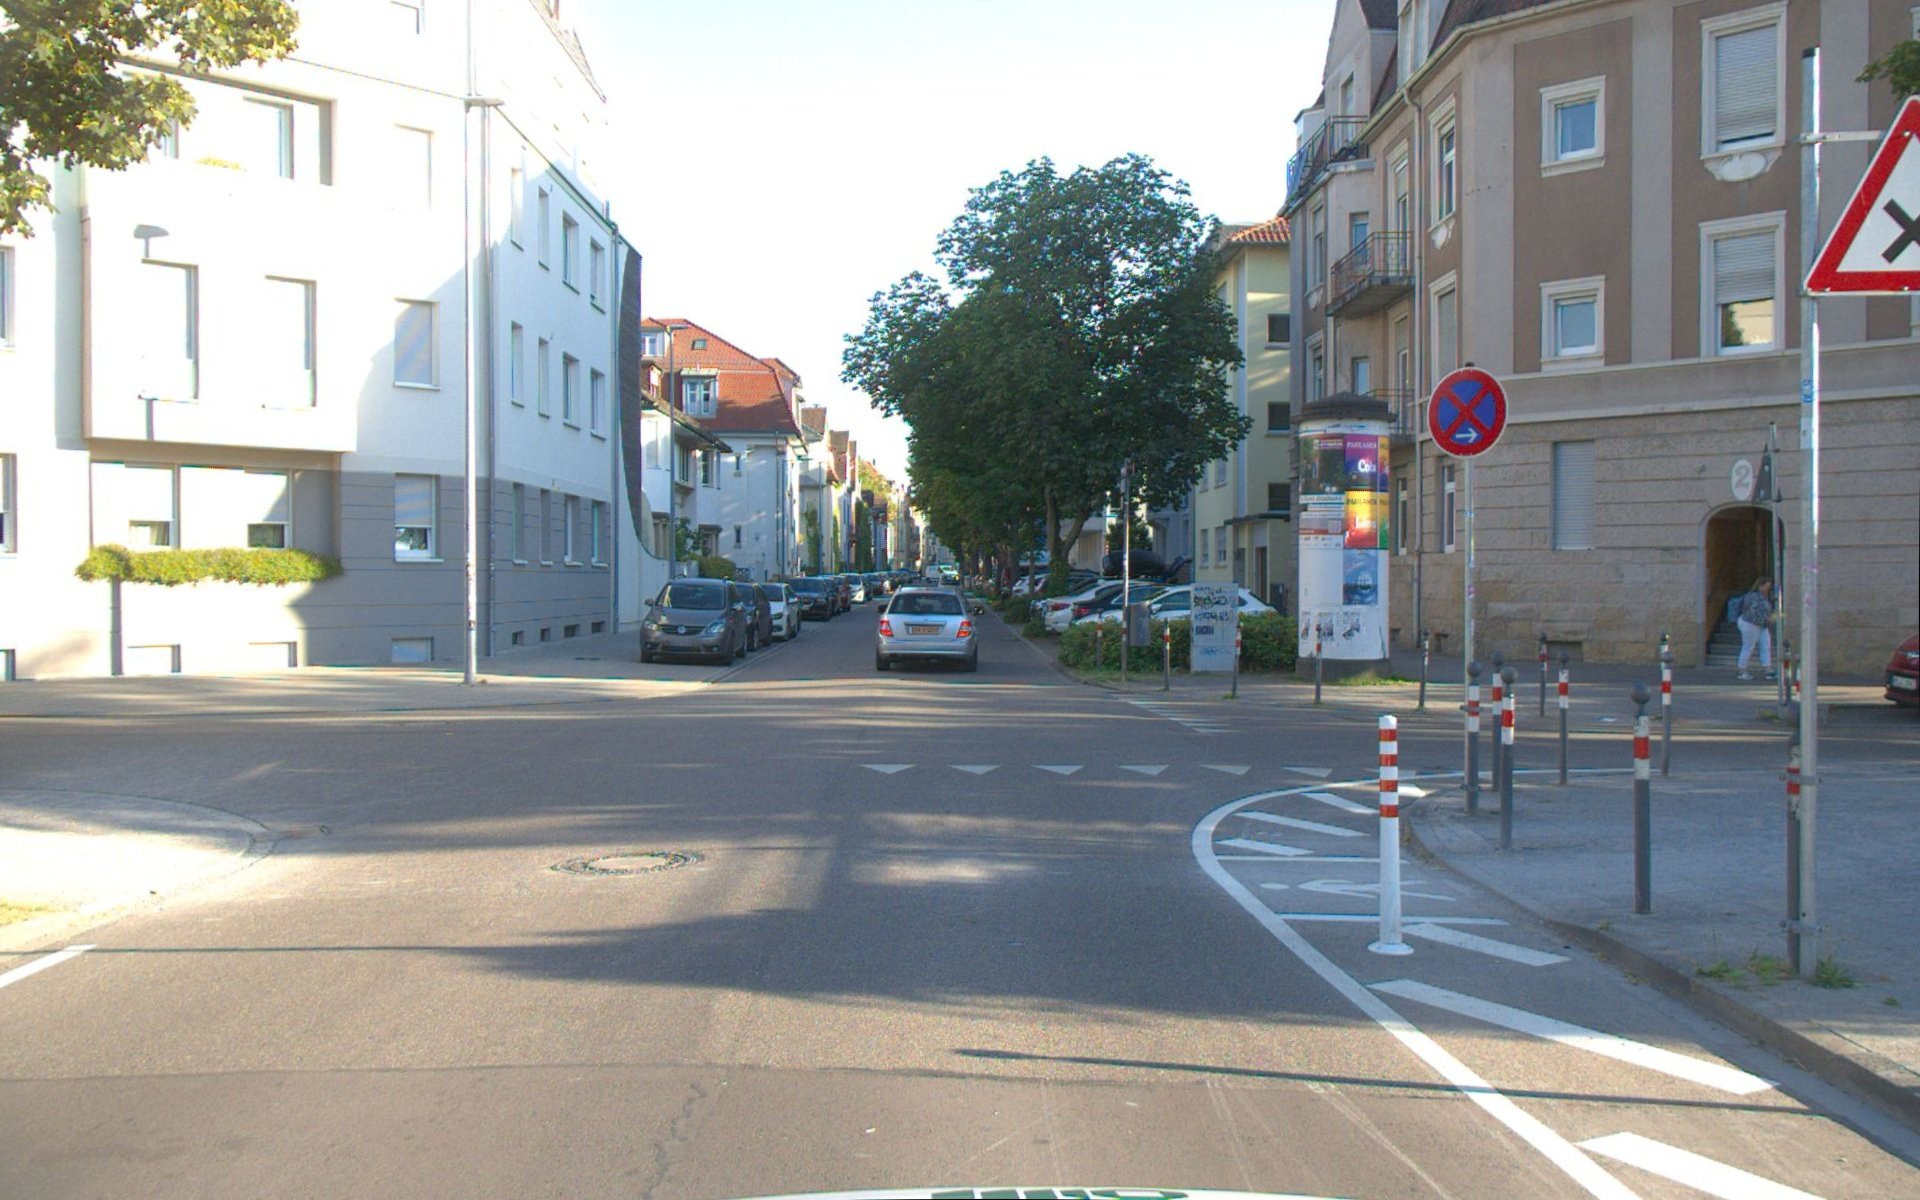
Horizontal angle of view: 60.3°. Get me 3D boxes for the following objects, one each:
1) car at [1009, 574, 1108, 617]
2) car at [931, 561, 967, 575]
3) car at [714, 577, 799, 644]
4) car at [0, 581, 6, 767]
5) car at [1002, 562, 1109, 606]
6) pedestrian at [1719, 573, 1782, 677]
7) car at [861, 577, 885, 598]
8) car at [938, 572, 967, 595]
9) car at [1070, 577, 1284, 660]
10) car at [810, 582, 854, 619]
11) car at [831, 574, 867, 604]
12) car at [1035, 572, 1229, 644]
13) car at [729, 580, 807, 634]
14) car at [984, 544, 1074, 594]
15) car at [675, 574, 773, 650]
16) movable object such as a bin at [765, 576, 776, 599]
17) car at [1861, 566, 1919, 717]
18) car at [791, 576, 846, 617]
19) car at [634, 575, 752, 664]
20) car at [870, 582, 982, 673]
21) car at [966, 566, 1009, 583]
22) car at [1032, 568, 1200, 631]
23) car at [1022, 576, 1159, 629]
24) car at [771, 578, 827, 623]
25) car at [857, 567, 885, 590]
[{"bbox_3d":[3.762,-0.181,63.591,3.655,1.585,1.725,-1,1,-2],"label":"car"},{"bbox_3d":[-1.269,-3.576,186.641,1.522,1.500,4.200,1,0,-45],"label":"car"},{"bbox_3d":[-5.119,0.230,42.047,1.846,1.618,4.088,0,1,-3],"label":"car"},{"bbox_3d":[-11.161,0.685,14.344,4.724,1.698,1.788,0,1,0],"label":"car"},{"bbox_3d":[4.140,-0.722,72.157,4.532,1.868,1.954,1,1,-1],"label":"car"},{"bbox_3d":[12.336,0.376,25.837,0.801,1.572,0.742,0,2,19],"label":"pedestrian"},{"bbox_3d":[-6.782,-0.974,129.097,1.762,1.508,3.857,0,1,-1],"label":"car"},{"bbox_3d":[-0.466,-1.087,110.030,1.779,1.498,4.217,0,0,2],"label":"car"},{"bbox_3d":[4.258,0.342,32.827,3.966,1.531,1.861,-1,1,-2],"label":"car"},{"bbox_3d":[-5.455,0.013,70.908,1.625,1.514,3.753,0,1,0],"label":"car"},{"bbox_3d":[-5.700,-0.589,85.373,1.625,1.525,3.753,0,1,0],"label":"car"},{"bbox_3d":[4.158,0.159,40.312,4.391,1.552,1.952,-2,2,-7],"label":"car"},{"bbox_3d":[-5.409,0.169,47.045,1.722,1.473,4.142,0,1,0],"label":"car"},{"bbox_3d":[4.256,-1.934,103.082,5.431,3.020,2.471,0,1,-3],"label":"car"},{"bbox_3d":[-5.320,0.227,37.775,1.846,1.618,4.088,0,1,-3],"label":"car"},{"bbox_3d":[-9.681,-0.636,84.420,0.517,1.127,0.589,0,0,-1],"label":"movable object such as a bin"},{"bbox_3d":[13.557,0.503,20.304,3.990,1.771,1.813,0,3,1],"label":"car"},{"bbox_3d":[-5.479,-0.157,64.568,1.747,1.524,4.699,0,1,0],"label":"car"},{"bbox_3d":[-5.156,0.322,32.369,1.846,1.618,4.088,0,1,-3],"label":"car"},{"bbox_3d":[-0.539,0.449,29.603,1.779,1.498,4.217,0,0,2],"label":"car"},{"bbox_3d":[2.451,-2.242,146.040,3.765,1.508,1.805,0,1,0],"label":"car"},{"bbox_3d":[4.277,-0.033,45.877,4.435,1.669,1.874,-1,1,-2],"label":"car"},{"bbox_3d":[4.082,0.054,52.058,4.106,1.585,1.874,-1,1,-2],"label":"car"},{"bbox_3d":[-5.684,-0.022,58.781,1.817,1.524,4.652,0,1,-3],"label":"car"},{"bbox_3d":[-6.046,-1.467,113.032,1.762,1.508,3.857,0,1,-1],"label":"car"}]
